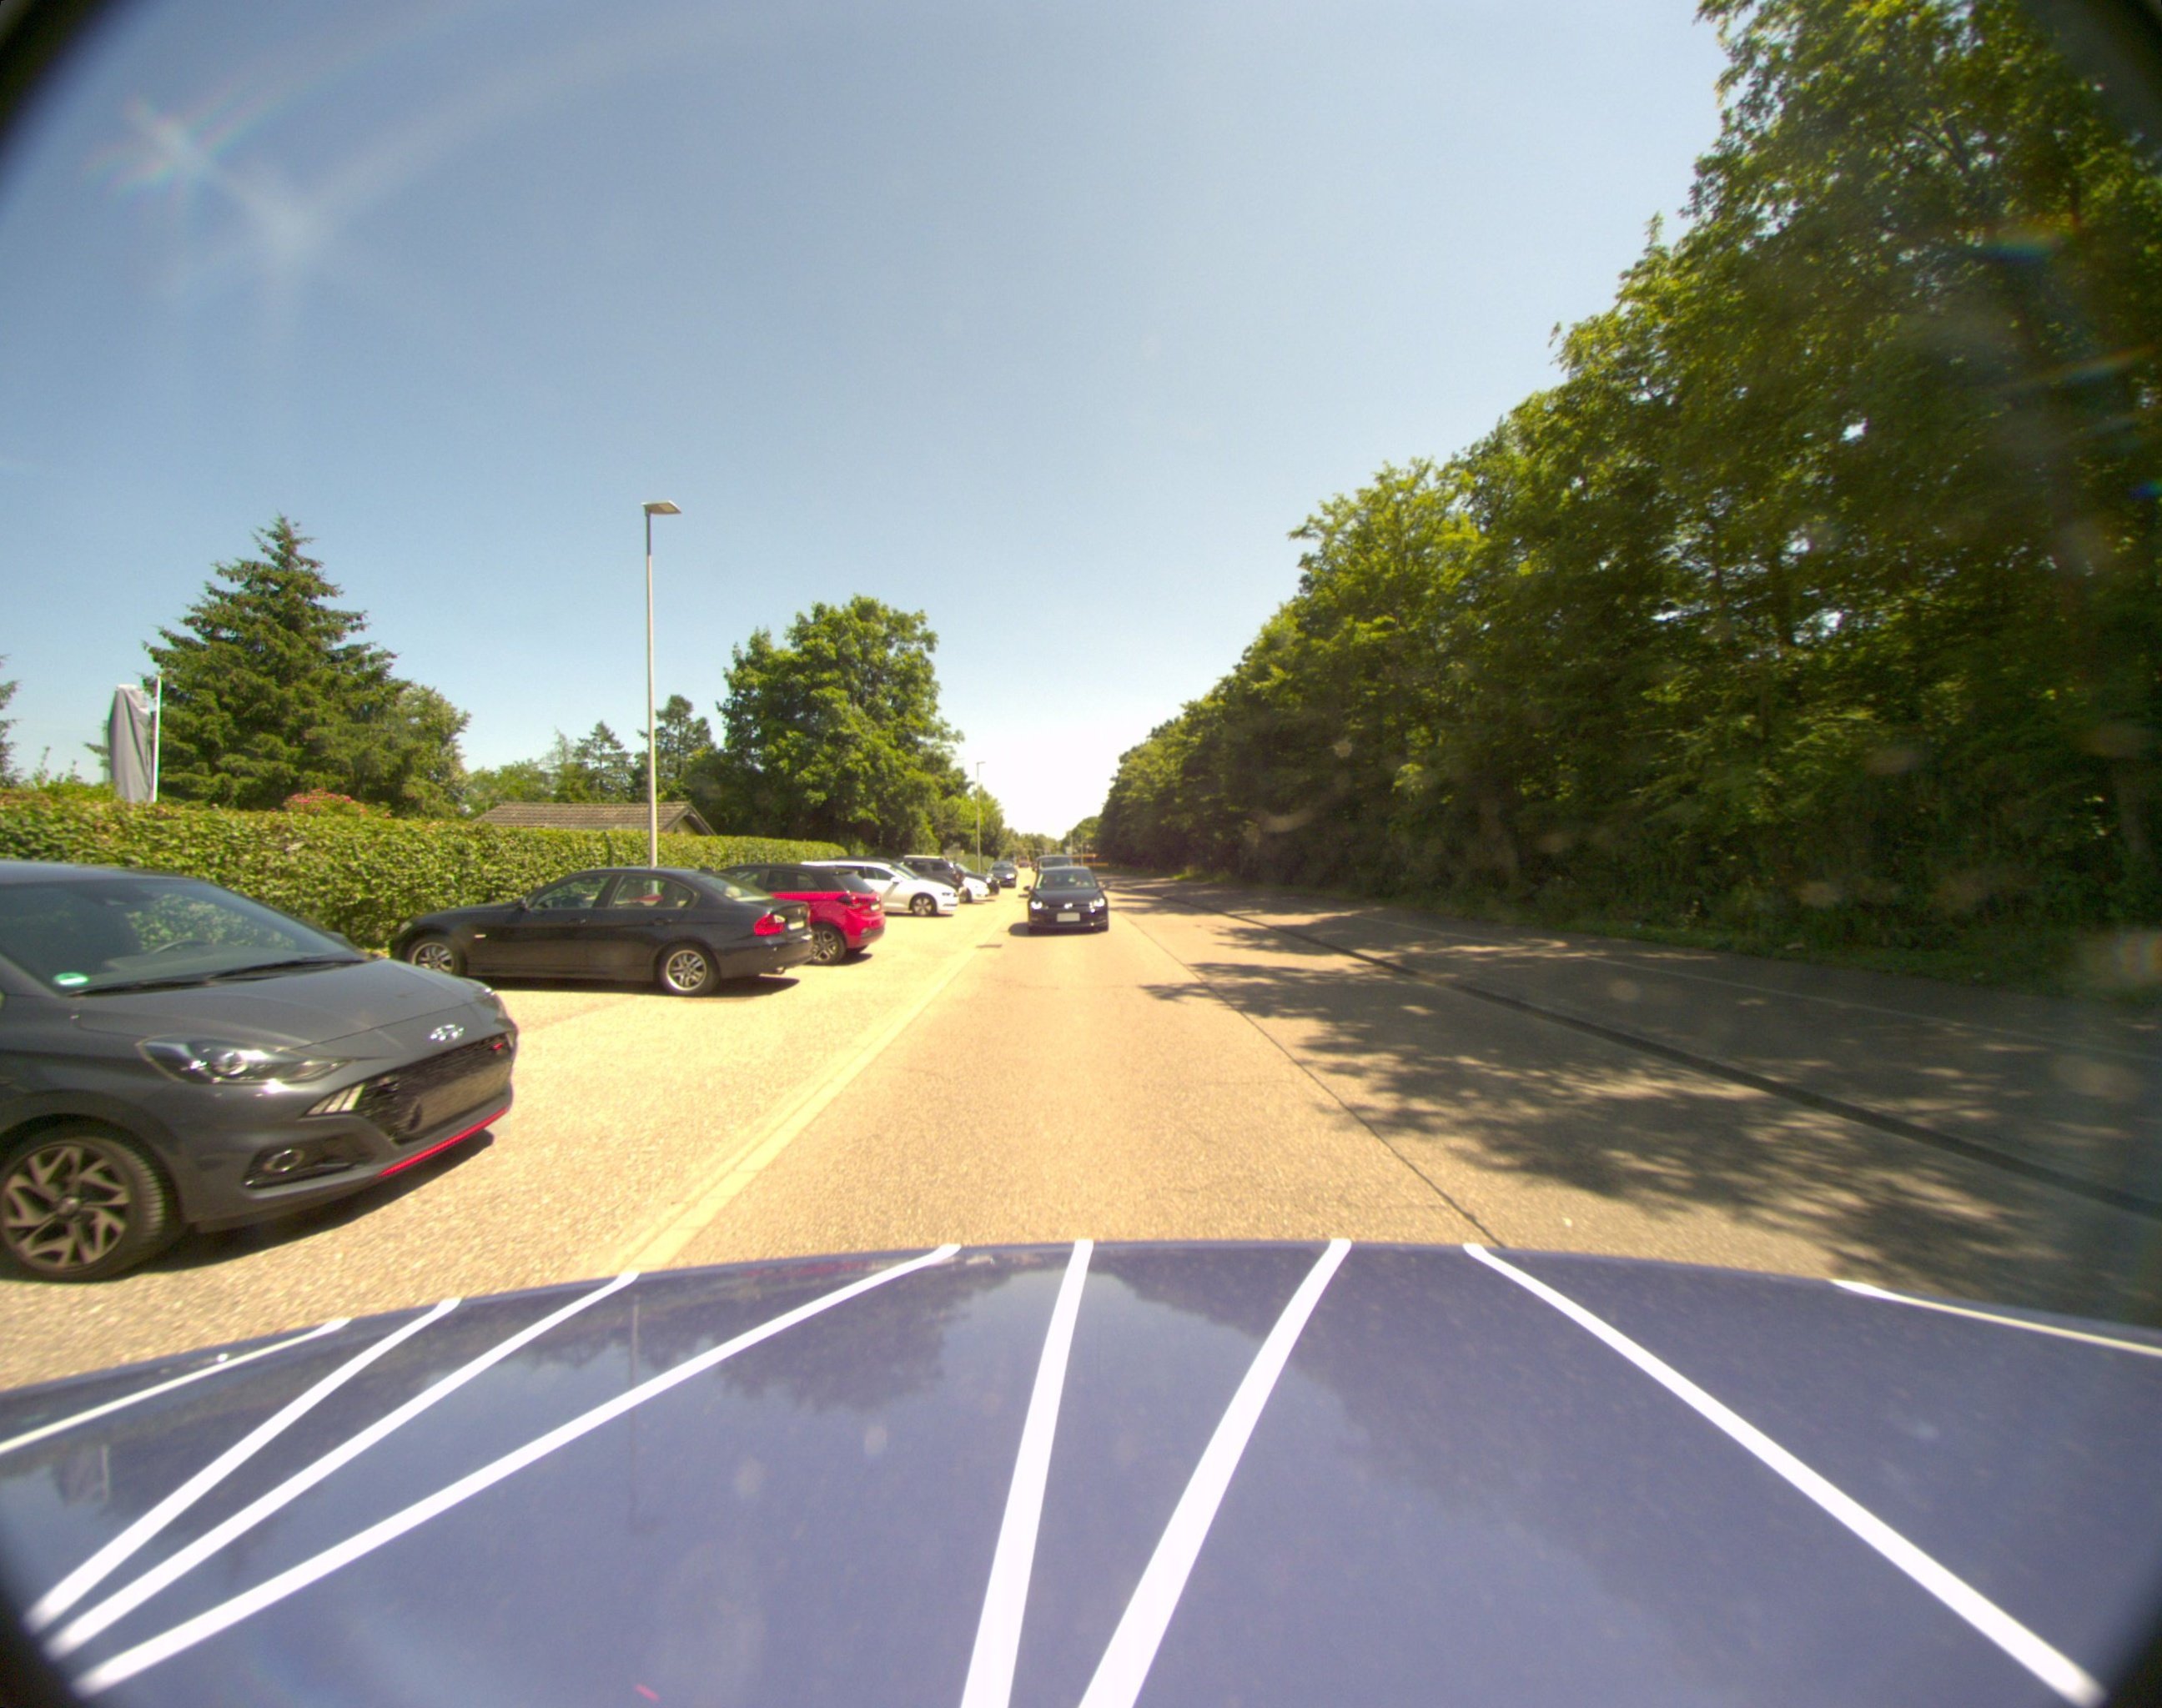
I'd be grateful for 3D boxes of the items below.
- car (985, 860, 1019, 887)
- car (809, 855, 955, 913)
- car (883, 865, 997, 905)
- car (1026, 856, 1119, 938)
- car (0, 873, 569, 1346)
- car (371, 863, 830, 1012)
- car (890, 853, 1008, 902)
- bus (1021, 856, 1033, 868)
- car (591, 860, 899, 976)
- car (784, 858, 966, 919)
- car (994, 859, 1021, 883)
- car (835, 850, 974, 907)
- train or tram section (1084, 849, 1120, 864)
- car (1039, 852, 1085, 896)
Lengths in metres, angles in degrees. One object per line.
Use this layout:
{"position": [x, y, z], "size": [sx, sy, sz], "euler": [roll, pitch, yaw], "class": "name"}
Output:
{"position": [-4.730, 1.129, 46.231], "size": [1.794, 1.473, 4.663], "euler": [3, -1, -4], "class": "car"}
{"position": [-6.097, 0.909, 23.691], "size": [4.061, 1.539, 1.757], "euler": [3, 0, -4], "class": "car"}
{"position": [-5.247, 1.133, 28.719], "size": [4.007, 1.443, 1.831], "euler": [0, 0, -2], "class": "car"}
{"position": [-0.274, 0.944, 18.223], "size": [1.887, 1.667, 4.662], "euler": [-1, -1, -3], "class": "car"}
{"position": [-4.733, 0.883, 3.381], "size": [3.586, 1.493, 1.841], "euler": [2, 0, -5], "class": "car"}
{"position": [-5.438, 0.910, 9.057], "size": [4.214, 1.380, 1.841], "euler": [3, -1, -1], "class": "car"}
{"position": [-5.369, 0.957, 31.354], "size": [4.482, 1.694, 1.913], "euler": [4, -1, -2], "class": "car"}
{"position": [-14.240, 2.157, 201.654], "size": [2.932, 3.247, 8.328], "euler": [-1, 0, -2], "class": "bus"}
{"position": [-5.072, 0.938, 11.901], "size": [3.929, 1.470, 1.845], "euler": [3, -1, -1], "class": "car"}
{"position": [-5.659, 0.942, 21.382], "size": [4.571, 1.430, 1.960], "euler": [3, -1, -5], "class": "car"}
{"position": [-5.094, 1.154, 53.213], "size": [1.794, 1.594, 4.128], "euler": [1, -1, -4], "class": "car"}
{"position": [-6.019, 0.824, 26.280], "size": [4.268, 1.688, 1.853], "euler": [3, 0, -1], "class": "car"}
{"position": [5.058, 0.602, 186.113], "size": [2.656, 3.445, 10.825], "euler": [-1, 0, -38], "class": "train or tram section"}
{"position": [-0.971, 0.937, 36.497], "size": [2.002, 1.965, 4.449], "euler": [-1, 0, -4], "class": "car"}
